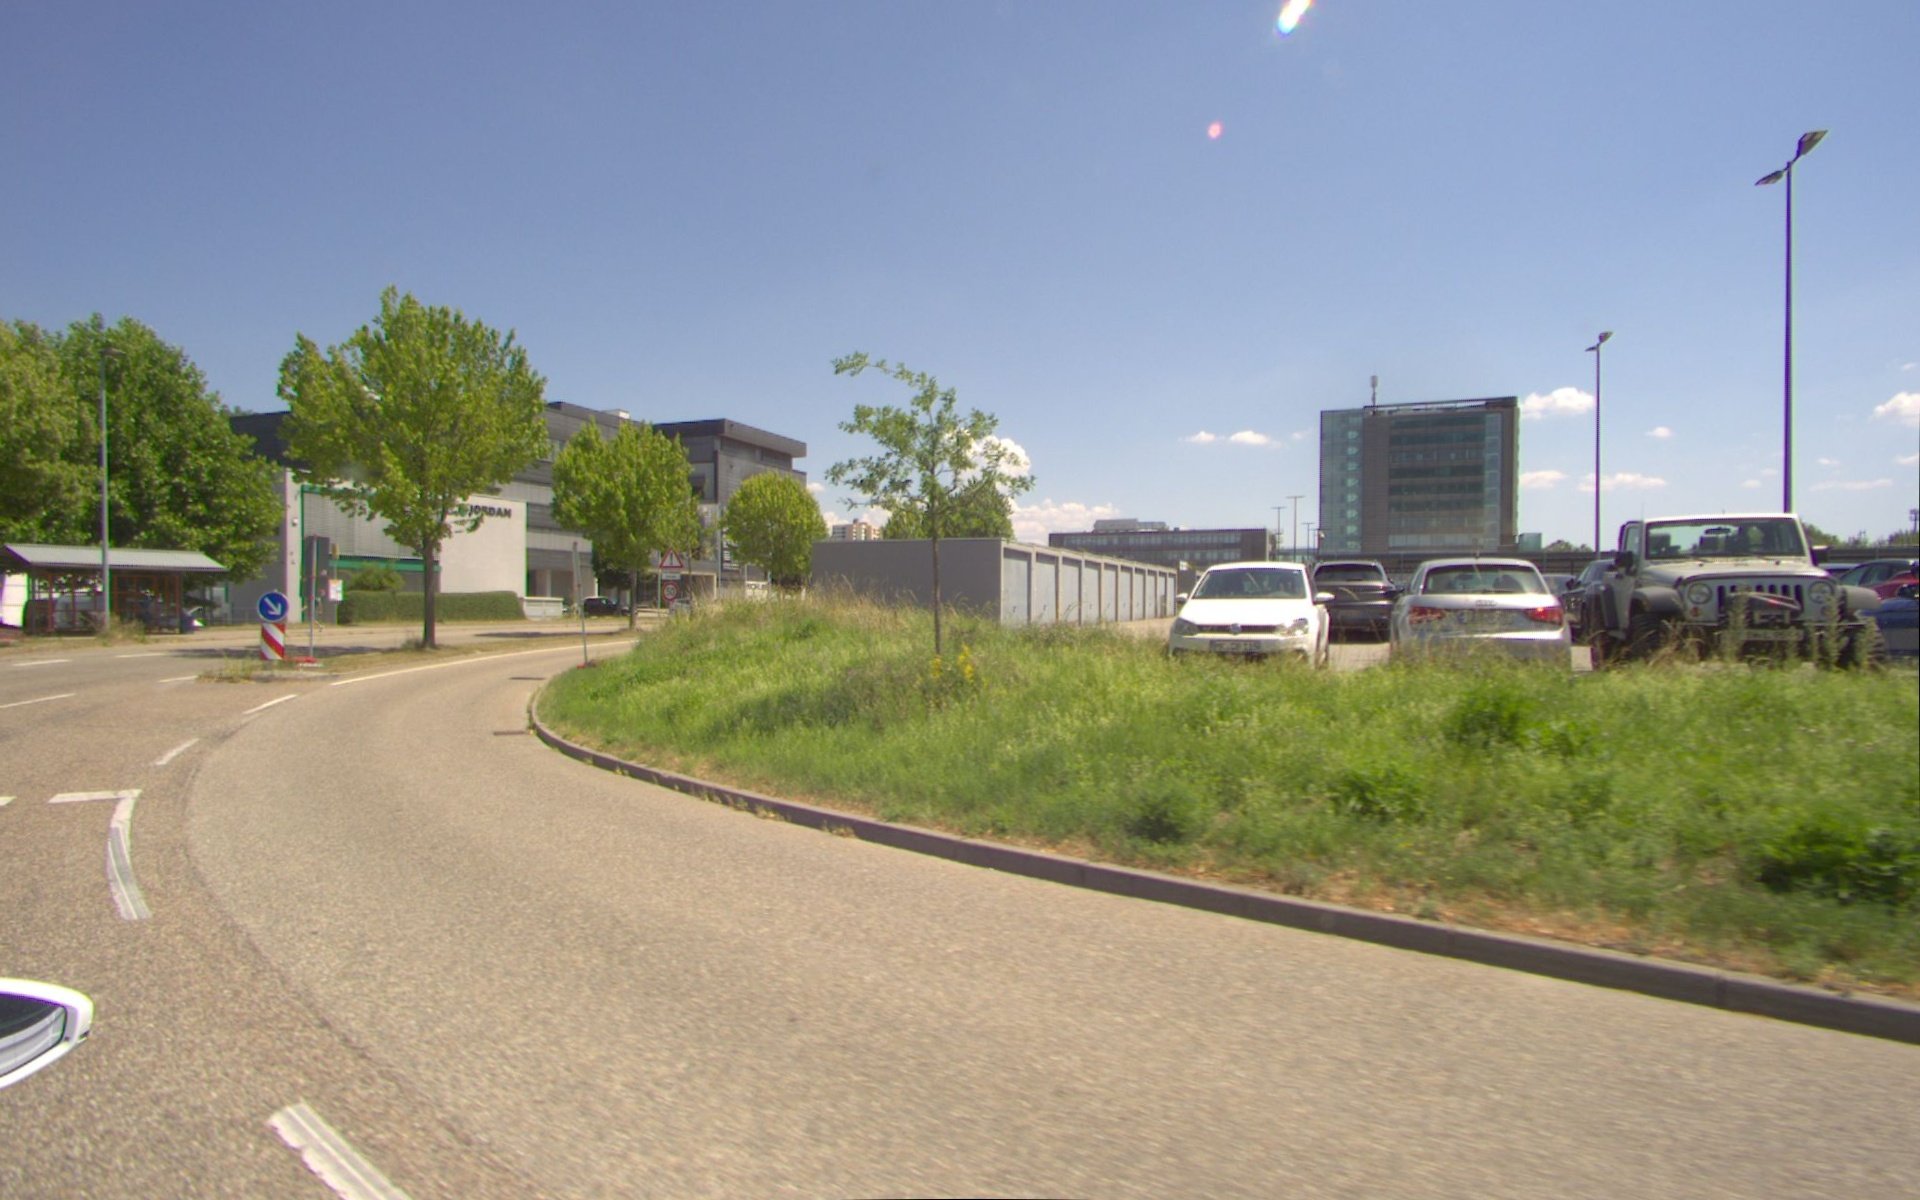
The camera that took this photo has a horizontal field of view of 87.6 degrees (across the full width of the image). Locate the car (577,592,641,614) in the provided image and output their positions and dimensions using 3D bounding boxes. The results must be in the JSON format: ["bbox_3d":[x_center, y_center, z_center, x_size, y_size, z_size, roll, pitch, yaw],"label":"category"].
[{"bbox_3d":[-23.374,0.207,66.651,3.851,1.398,1.701,0,1,21],"label":"car"}]

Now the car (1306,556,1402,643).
[{"bbox_3d":[8.578,0.044,22.011,1.746,1.712,4.596,1,-1,20],"label":"car"}]

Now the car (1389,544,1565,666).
[{"bbox_3d":[5.900,0.086,11.735,1.476,1.197,3.263,-2,-1,21],"label":"car"}]

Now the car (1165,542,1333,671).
[{"bbox_3d":[3.710,0.108,12.428,1.548,1.314,3.868,-2,-1,23],"label":"car"}]

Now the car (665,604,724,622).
[{"bbox_3d":[-20.055,0.987,75.605,4.203,1.197,1.491,-1,-2,21],"label":"car"}]

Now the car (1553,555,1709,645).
[{"bbox_3d":[13.200,-0.017,19.937,1.738,1.619,3.631,0,1,20],"label":"car"}]

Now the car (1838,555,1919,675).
[{"bbox_3d":[10.808,0.127,10.057,1.558,1.273,3.940,-2,-1,19],"label":"car"}]

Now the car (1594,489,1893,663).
[{"bbox_3d":[8.360,-0.179,11.084,1.847,1.547,3.735,-2,-1,26],"label":"car"}]

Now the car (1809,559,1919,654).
[{"bbox_3d":[17.227,0.164,18.220,1.495,1.593,3.416,-1,-3,18],"label":"car"}]

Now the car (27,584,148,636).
[{"bbox_3d":[-36.488,0.445,41.907,4.185,2.039,1.549,-1,-2,11],"label":"car"}]

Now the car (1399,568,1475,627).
[{"bbox_3d":[13.290,-0.074,28.064,1.571,1.519,3.631,0,1,20],"label":"car"}]

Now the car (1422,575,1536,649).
[{"bbox_3d":[10.678,0.206,20.841,1.624,1.381,3.839,-1,1,20],"label":"car"}]

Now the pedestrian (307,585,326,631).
[{"bbox_3d":[-24.100,0.294,37.504,0.525,1.691,0.574,1,-2,-40],"label":"pedestrian"}]
